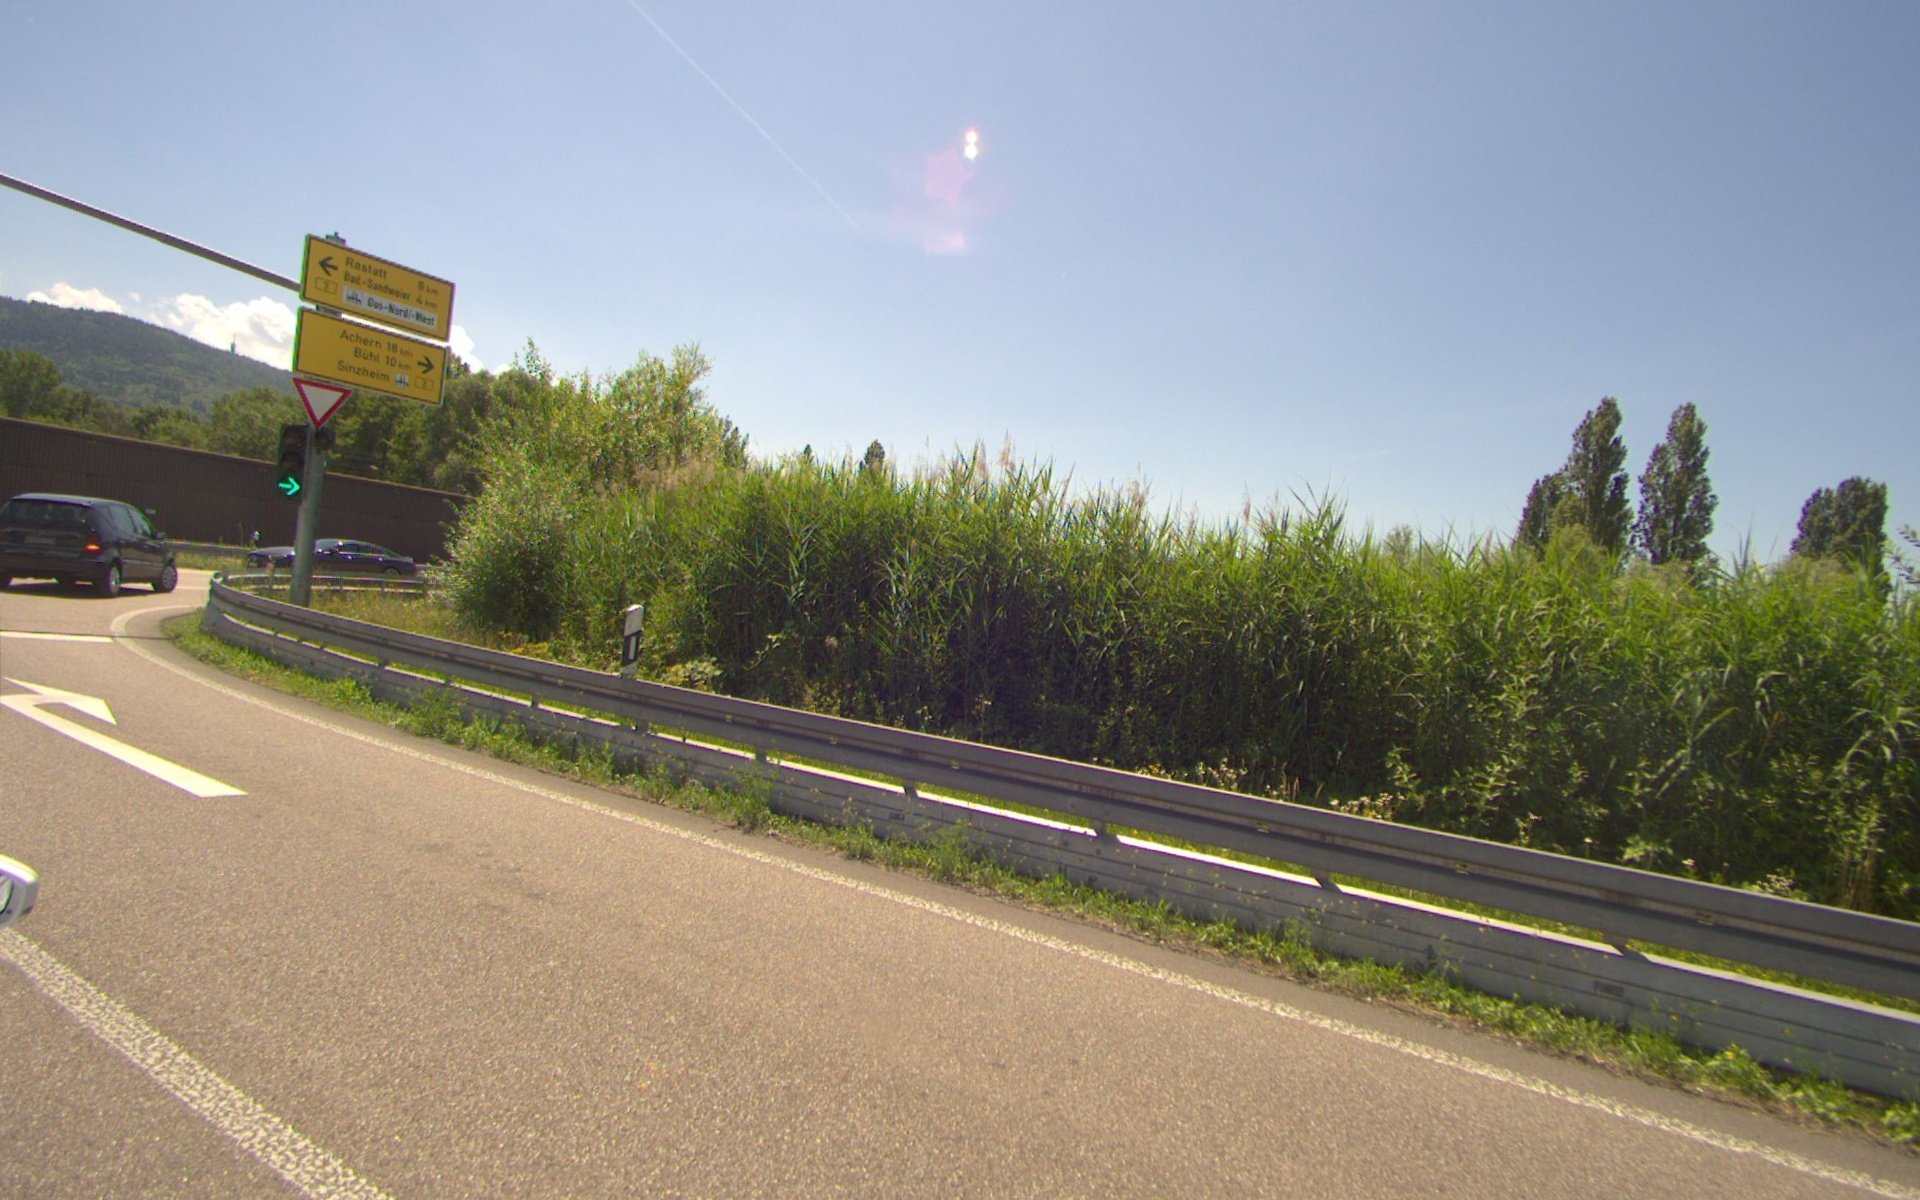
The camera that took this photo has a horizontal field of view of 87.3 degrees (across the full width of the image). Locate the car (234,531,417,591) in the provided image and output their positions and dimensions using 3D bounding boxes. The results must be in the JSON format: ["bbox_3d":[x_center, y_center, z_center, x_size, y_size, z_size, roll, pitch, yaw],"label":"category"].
[{"bbox_3d":[-20.458,-1.221,32.647,1.880,1.381,4.640,5,-1,29],"label":"car"}]

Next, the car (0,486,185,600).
[{"bbox_3d":[-15.288,-0.958,17.651,1.621,1.616,3.543,8,-1,-22],"label":"car"}]
